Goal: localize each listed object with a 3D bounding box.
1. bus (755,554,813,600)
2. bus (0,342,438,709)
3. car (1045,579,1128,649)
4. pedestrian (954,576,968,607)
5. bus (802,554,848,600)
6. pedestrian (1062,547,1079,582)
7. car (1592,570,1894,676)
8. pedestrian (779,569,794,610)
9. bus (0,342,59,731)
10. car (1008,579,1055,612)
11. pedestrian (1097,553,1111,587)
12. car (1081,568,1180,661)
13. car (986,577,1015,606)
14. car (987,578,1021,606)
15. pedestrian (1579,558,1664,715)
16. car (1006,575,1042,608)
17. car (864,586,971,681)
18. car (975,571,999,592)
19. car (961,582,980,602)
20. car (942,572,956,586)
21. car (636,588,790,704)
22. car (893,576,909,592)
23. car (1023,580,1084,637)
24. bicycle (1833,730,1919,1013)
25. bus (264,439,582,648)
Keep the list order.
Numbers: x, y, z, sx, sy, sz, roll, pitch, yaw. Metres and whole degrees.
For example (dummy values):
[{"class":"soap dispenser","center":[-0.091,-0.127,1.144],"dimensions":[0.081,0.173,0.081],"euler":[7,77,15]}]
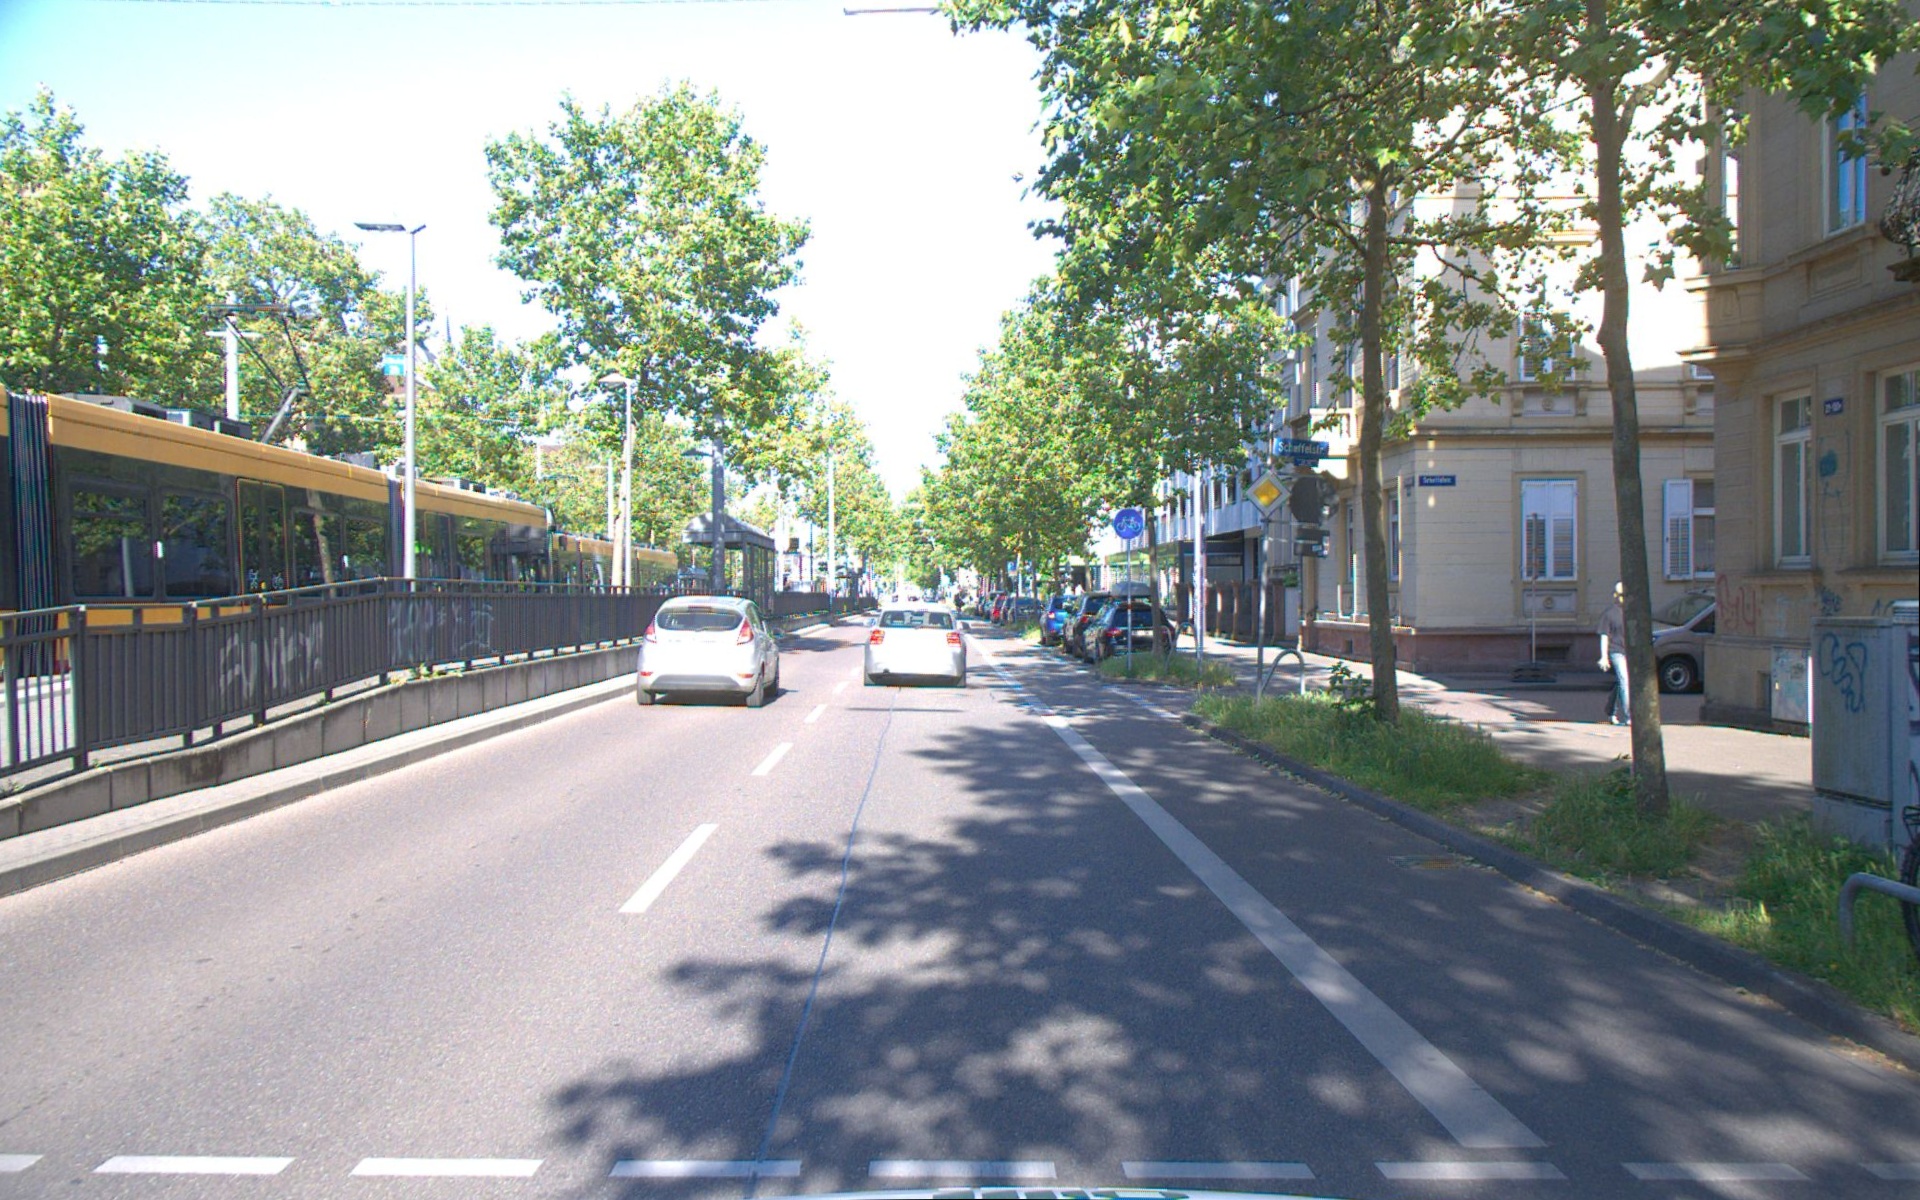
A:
[{"class":"bus","center":[-15.411,-2.111,146.644],"dimensions":[2.810,3.691,24.601],"euler":[0,1,-1]},{"class":"bus","center":[-10.183,-0.799,21.877],"dimensions":[2.810,3.504,12.213],"euler":[0,1,-1]},{"class":"car","center":[3.332,0.321,44.212],"dimensions":[1.761,1.729,4.736],"euler":[0,1,-1]},{"class":"pedestrian","center":[0.096,-0.581,109.454],"dimensions":[0.820,2.048,0.649],"euler":[2,1,6]},{"class":"bus","center":[-11.442,-2.029,141.763],"dimensions":[2.694,3.689,18.846],"euler":[0,1,-1]},{"class":"pedestrian","center":[6.514,-2.087,97.628],"dimensions":[0.944,2.049,0.938],"euler":[0,1,-1]},{"class":"car","center":[13.923,0.374,29.615],"dimensions":[4.487,1.803,1.922],"euler":[0,1,2]},{"class":"pedestrian","center":[-8.462,-0.521,80.635],"dimensions":[0.626,1.988,0.813],"euler":[1,1,-1]},{"class":"bus","center":[-9.969,-0.477,9.214],"dimensions":[2.810,3.504,13.215],"euler":[0,1,-1]},{"class":"car","center":[3.426,-0.217,79.664],"dimensions":[1.953,1.535,4.597],"euler":[1,0,-1]},{"class":"pedestrian","center":[8.919,-1.861,102.266],"dimensions":[0.772,2.049,0.890],"euler":[0,1,0]},{"class":"car","center":[3.867,0.274,38.214],"dimensions":[1.719,1.999,4.736],"euler":[0,1,-1]},{"class":"car","center":[2.697,-0.588,110.635],"dimensions":[1.689,1.913,4.000],"euler":[1,1,-1]},{"class":"car","center":[2.493,-0.474,94.890],"dimensions":[1.769,1.547,3.999],"euler":[1,0,-1]},{"class":"pedestrian","center":[8.095,0.427,20.263],"dimensions":[0.553,1.858,0.958],"euler":[1,1,-4]},{"class":"car","center":[3.261,-0.447,85.099],"dimensions":[1.635,1.578,4.000],"euler":[1,1,-1]},{"class":"car","center":[-0.761,0.533,29.211],"dimensions":[1.727,1.457,3.999],"euler":[1,1,-2]},{"class":"car","center":[2.061,-1.434,126.817],"dimensions":[1.666,1.561,3.716],"euler":[1,1,-1]},{"class":"car","center":[1.163,-0.889,184.981],"dimensions":[1.953,2.048,4.000],"euler":[1,1,-1]},{"class":"car","center":[-1.608,-3.082,244.132],"dimensions":[1.953,2.049,4.000],"euler":[0,1,-1]},{"class":"car","center":[-3.382,0.580,23.209],"dimensions":[1.613,1.386,3.759],"euler":[1,1,-1]},{"class":"car","center":[-7.864,-2.142,219.863],"dimensions":[1.953,2.048,4.000],"euler":[1,1,-1]},{"class":"car","center":[2.987,0.234,53.400],"dimensions":[1.657,1.687,4.039],"euler":[0,2,-1]},{"class":"bicycle","center":[3.773,1.044,5.821],"dimensions":[0.419,0.987,1.750],"euler":[1,1,-1]},{"class":"bus","center":[-10.373,-1.035,33.682],"dimensions":[2.810,3.504,11.609],"euler":[0,1,-1]}]
